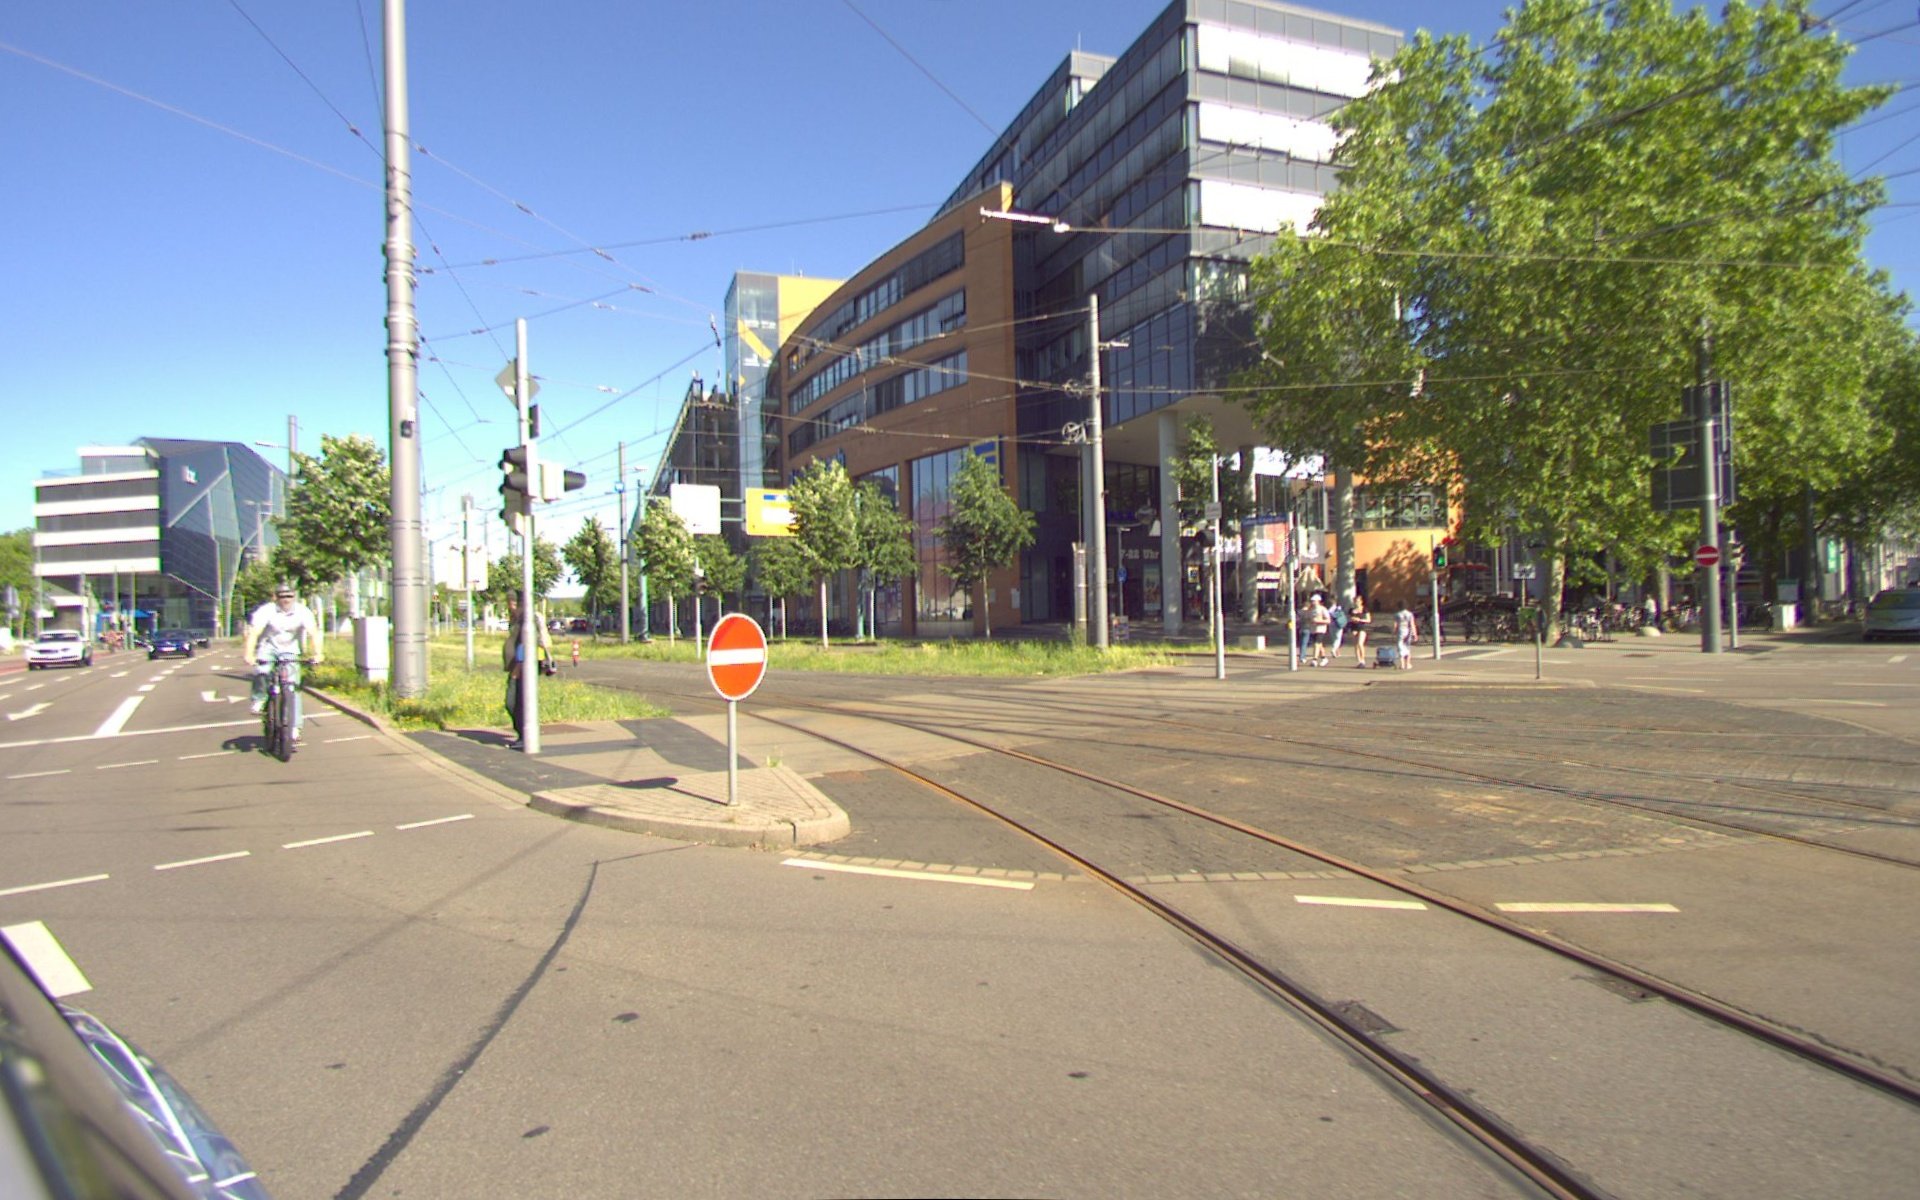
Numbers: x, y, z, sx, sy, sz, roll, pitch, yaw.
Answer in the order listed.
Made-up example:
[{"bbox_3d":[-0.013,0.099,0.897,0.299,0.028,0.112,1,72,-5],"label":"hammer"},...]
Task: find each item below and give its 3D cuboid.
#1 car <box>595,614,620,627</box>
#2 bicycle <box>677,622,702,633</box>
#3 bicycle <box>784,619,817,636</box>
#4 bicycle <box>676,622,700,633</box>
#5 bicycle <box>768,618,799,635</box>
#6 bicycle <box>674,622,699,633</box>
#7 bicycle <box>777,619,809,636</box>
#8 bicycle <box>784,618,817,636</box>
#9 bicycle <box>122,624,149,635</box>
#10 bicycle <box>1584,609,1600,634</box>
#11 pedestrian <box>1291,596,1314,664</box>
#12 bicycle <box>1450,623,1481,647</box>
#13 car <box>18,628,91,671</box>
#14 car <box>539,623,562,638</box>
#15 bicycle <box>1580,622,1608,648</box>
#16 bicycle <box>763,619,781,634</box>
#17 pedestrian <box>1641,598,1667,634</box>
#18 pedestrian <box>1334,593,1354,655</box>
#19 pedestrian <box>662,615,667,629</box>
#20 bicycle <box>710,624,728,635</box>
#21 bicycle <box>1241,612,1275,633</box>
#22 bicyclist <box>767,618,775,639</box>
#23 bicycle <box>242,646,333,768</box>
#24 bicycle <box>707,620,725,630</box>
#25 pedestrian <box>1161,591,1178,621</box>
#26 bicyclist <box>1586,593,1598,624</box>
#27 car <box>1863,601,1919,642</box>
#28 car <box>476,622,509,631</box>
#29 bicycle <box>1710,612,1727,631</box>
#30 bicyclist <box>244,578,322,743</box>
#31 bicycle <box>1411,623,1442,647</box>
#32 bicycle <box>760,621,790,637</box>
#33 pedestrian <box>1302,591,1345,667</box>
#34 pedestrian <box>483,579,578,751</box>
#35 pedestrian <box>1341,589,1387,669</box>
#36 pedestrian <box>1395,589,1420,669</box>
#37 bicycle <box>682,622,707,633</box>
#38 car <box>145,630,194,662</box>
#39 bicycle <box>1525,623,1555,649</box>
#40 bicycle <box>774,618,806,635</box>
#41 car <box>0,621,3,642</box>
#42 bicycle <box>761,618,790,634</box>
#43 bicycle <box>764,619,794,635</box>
[{"bbox_3d":[-54.712,3.154,157.287,2.196,2.029,5.257,-1,-1,-1],"label":"car"},{"bbox_3d":[-25.210,2.544,94.308,2.143,0.961,0.494,-2,0,-27],"label":"bicycle"},{"bbox_3d":[-11.235,1.915,71.163,2.143,1.132,0.756,-2,0,-27],"label":"bicycle"},{"bbox_3d":[-25.501,2.561,94.914,2.143,0.961,0.494,-2,0,-27],"label":"bicycle"},{"bbox_3d":[-13.347,2.005,76.364,2.143,1.132,0.756,-2,0,-27],"label":"bicycle"},{"bbox_3d":[-25.797,2.560,95.451,2.143,0.961,0.494,-2,0,-27],"label":"bicycle"},{"bbox_3d":[-12.148,1.973,73.764,2.143,1.132,0.756,-2,0,-27],"label":"bicycle"},{"bbox_3d":[-11.358,1.906,72.041,2.143,1.132,0.756,-2,0,-27],"label":"bicycle"},{"bbox_3d":[-71.887,2.545,88.216,1.678,0.961,0.699,0,-2,-22],"label":"bicycle"},{"bbox_3d":[35.590,1.185,56.978,0.465,1.363,2.340,-2,-1,39],"label":"bicycle"},{"bbox_3d":[9.324,0.809,27.570,0.493,1.845,0.579,-2,-1,16],"label":"pedestrian"},{"bbox_3d":[18.208,1.249,36.424,0.376,0.805,2.001,-2,-1,44],"label":"bicycle"},{"bbox_3d":[-39.295,2.102,44.016,1.844,1.642,4.349,-1,0,-35],"label":"car"},{"bbox_3d":[-38.895,2.857,96.097,1.409,1.370,3.304,-1,-1,-34],"label":"car"},{"bbox_3d":[21.375,1.173,34.089,0.376,0.805,2.001,-2,-1,44],"label":"bicycle"},{"bbox_3d":[-12.413,1.716,66.639,0.348,0.933,1.899,-1,0,-37],"label":"bicycle"},{"bbox_3d":[27.927,0.642,40.730,0.638,1.463,0.502,-1,-1,-10],"label":"pedestrian"},{"bbox_3d":[11.429,0.712,30.128,0.454,1.845,0.459,-2,-1,16],"label":"pedestrian"},{"bbox_3d":[-30.725,2.284,105.116,0.483,1.530,0.651,-1,-1,-17],"label":"pedestrian"},{"bbox_3d":[-20.865,2.556,87.596,1.426,0.825,0.447,-2,0,-27],"label":"bicycle"},{"bbox_3d":[16.215,1.225,55.064,0.486,1.143,1.807,-1,-1,-37],"label":"bicycle"},{"bbox_3d":[-12.416,1.893,66.637,0.336,1.387,0.483,-1,0,-37],"label":"bicyclist"},{"bbox_3d":[-7.271,1.071,10.884,0.677,1.077,2.703,-3,0,-36],"label":"bicycle"},{"bbox_3d":[-21.444,2.214,89.006,1.426,0.825,0.447,-2,0,-27],"label":"bicycle"},{"bbox_3d":[11.548,0.316,55.869,0.499,1.636,0.790,-1,1,-36],"label":"pedestrian"},{"bbox_3d":[35.586,0.453,56.985,0.465,1.734,0.479,-2,-1,40],"label":"bicyclist"},{"bbox_3d":[31.876,0.689,33.676,3.935,1.240,2.004,-1,-1,-38],"label":"car"},{"bbox_3d":[-61.676,3.536,133.512,3.931,1.098,2.006,-1,-1,-27],"label":"car"},{"bbox_3d":[33.390,0.956,44.540,0.444,0.788,1.474,-2,-1,42],"label":"bicycle"},{"bbox_3d":[-7.345,0.627,10.967,0.609,1.682,1.022,-3,0,-36],"label":"bicyclist"},{"bbox_3d":[17.058,1.282,37.012,0.376,0.805,2.001,-2,-1,44],"label":"bicycle"},{"bbox_3d":[-14.461,2.264,79.095,2.143,1.132,0.756,-2,0,-27],"label":"bicycle"},{"bbox_3d":[9.006,0.714,25.061,0.750,1.845,0.626,-1,-1,-31],"label":"pedestrian"},{"bbox_3d":[-4.639,0.675,10.936,0.769,1.766,0.663,-2,-1,41],"label":"pedestrian"},{"bbox_3d":[9.553,0.675,23.914,0.750,1.845,0.626,-1,-1,-27],"label":"pedestrian"},{"bbox_3d":[10.402,0.667,23.546,0.460,1.845,0.383,-2,-1,22],"label":"pedestrian"},{"bbox_3d":[-24.645,2.534,93.930,2.143,0.961,0.494,-2,0,-27],"label":"bicycle"},{"bbox_3d":[-41.234,2.357,52.846,1.844,1.568,4.009,-1,-1,-36],"label":"car"},{"bbox_3d":[19.836,1.214,34.578,0.376,0.805,2.001,-2,-1,44],"label":"bicycle"},{"bbox_3d":[-12.569,1.966,74.721,2.143,1.132,0.756,-2,0,-27],"label":"bicycle"},{"bbox_3d":[-92.313,2.989,93.984,4.574,1.997,1.881,-1,-1,-25],"label":"car"},{"bbox_3d":[-14.714,2.060,80.612,2.143,1.132,0.756,-2,0,-27],"label":"bicycle"},{"bbox_3d":[-13.935,2.055,77.914,2.143,1.132,0.756,-2,0,-27],"label":"bicycle"}]
